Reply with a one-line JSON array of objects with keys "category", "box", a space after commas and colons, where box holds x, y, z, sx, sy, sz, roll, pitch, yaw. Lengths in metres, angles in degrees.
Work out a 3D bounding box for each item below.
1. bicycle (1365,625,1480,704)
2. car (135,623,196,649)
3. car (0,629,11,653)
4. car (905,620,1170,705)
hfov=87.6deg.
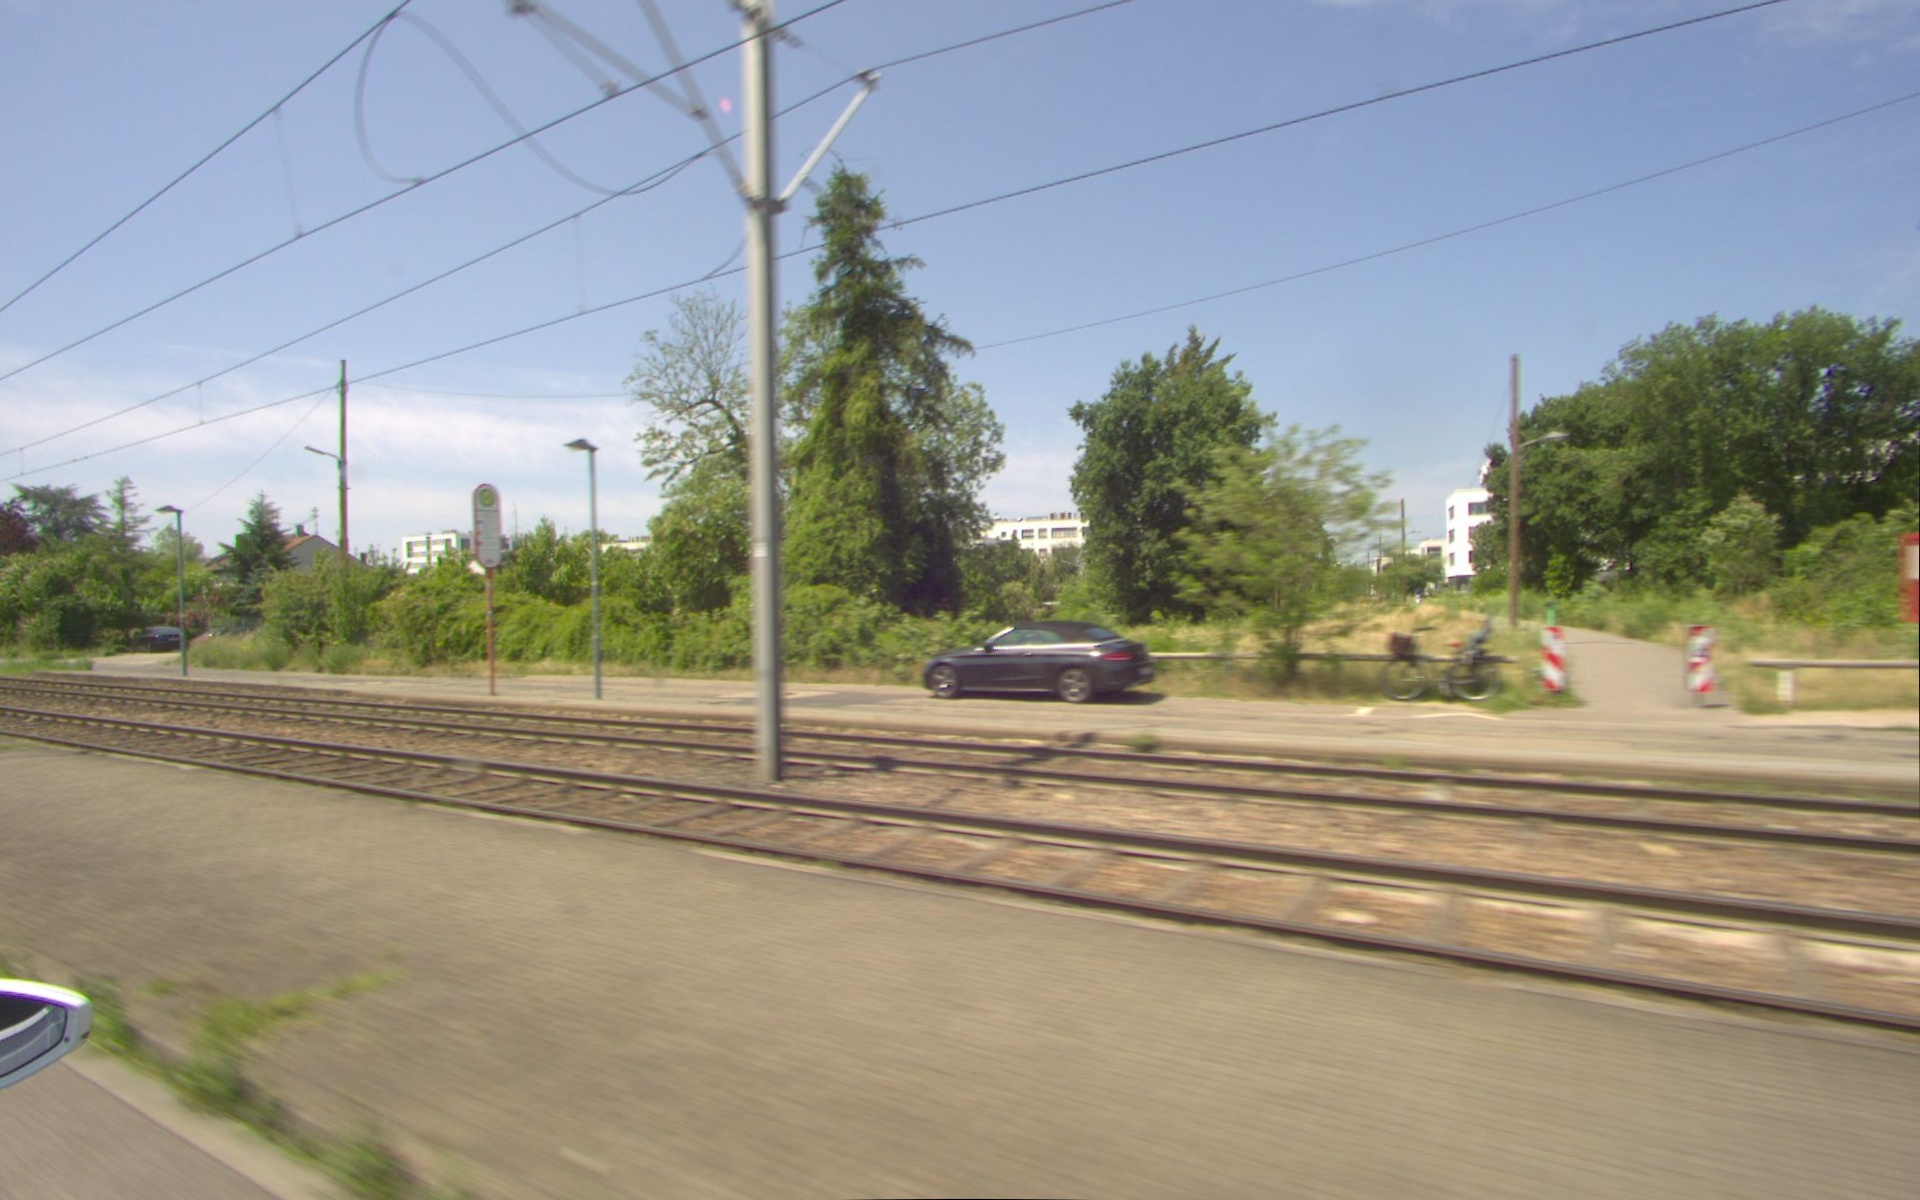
[{"category": "bicycle", "box": [7.947, 1.096, 17.243, 1.648, 1.286, 0.704, -1, 0, -3]}, {"category": "car", "box": [-45.160, 2.048, 56.902, 3.688, 1.437, 1.716, -1, -1, 34]}, {"category": "car", "box": [-55.676, 2.335, 56.697, 4.452, 1.347, 1.857, -1, -1, 34]}, {"category": "car", "box": [1.372, 1.118, 18.862, 4.804, 1.440, 1.617, -1, -1, 33]}]
